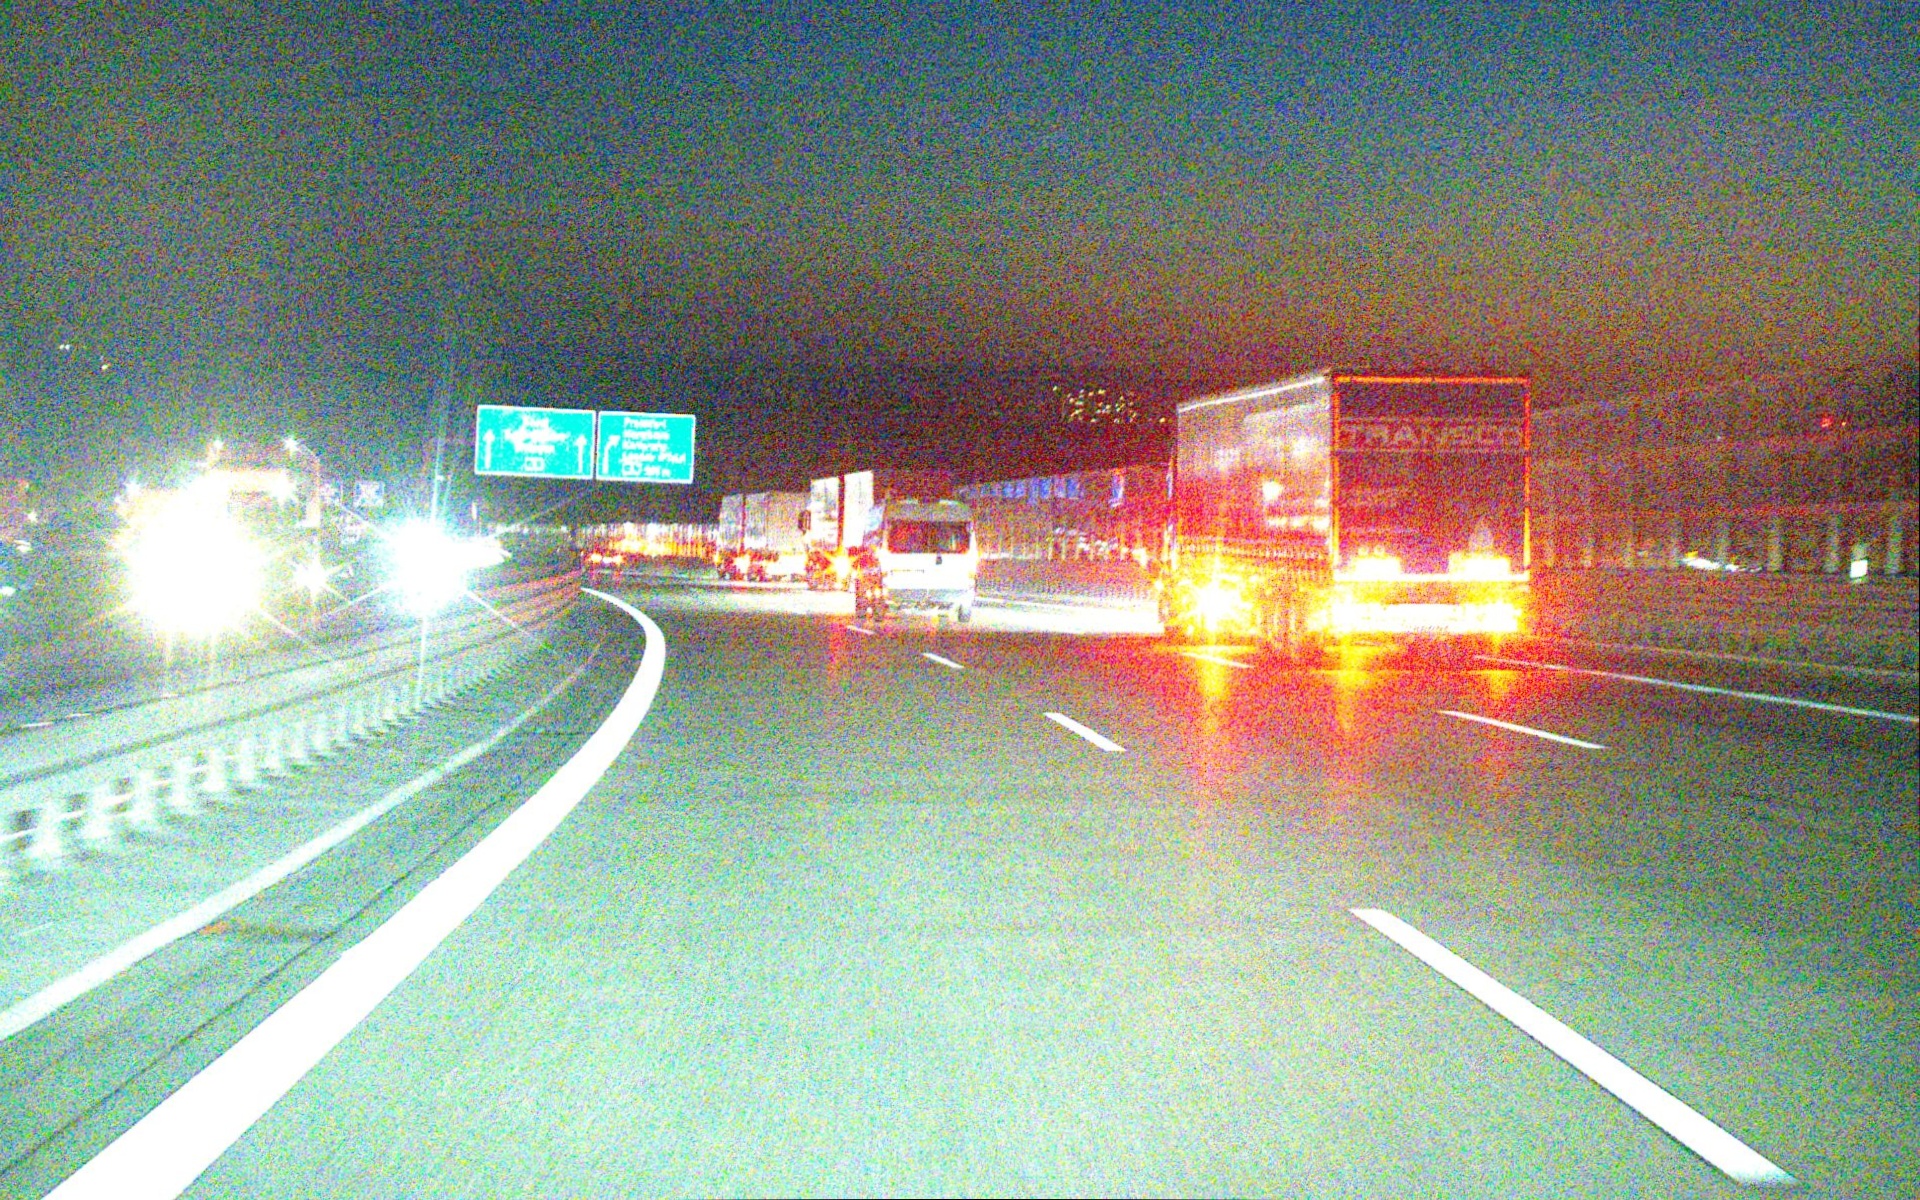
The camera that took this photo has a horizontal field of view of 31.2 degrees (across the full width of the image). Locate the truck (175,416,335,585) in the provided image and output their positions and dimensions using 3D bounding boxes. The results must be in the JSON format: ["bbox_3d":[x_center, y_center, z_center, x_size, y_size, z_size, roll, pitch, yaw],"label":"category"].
[{"bbox_3d":[-19.101,-2.631,93.569,3.108,4.083,7.076,4,-1,-4],"label":"truck"}]

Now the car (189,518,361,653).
[{"bbox_3d":[-10.442,-0.216,52.766,1.875,1.916,5.604,1,0,-4],"label":"car"}]

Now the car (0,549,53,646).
[{"bbox_3d":[-14.258,-0.077,49.261,1.628,1.346,4.000,4,-1,-4],"label":"car"}]

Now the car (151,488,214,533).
[{"bbox_3d":[-26.087,-3.000,115.443,1.653,1.472,3.775,0,1,-6],"label":"car"}]

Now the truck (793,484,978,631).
[{"bbox_3d":[-2.858,-1.357,119.810,3.914,4.612,21.022,1,0,-8],"label":"truck"}]

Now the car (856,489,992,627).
[{"bbox_3d":[-0.808,-0.827,72.236,2.337,2.631,5.248,3,-1,-5],"label":"car"}]

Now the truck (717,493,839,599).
[{"bbox_3d":[-8.585,-2.536,159.909,3.343,4.461,13.914,4,0,-12],"label":"truck"}]

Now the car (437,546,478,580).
[{"bbox_3d":[-20.452,-1.526,140.044,1.570,1.349,4.001,0,1,-7],"label":"car"}]

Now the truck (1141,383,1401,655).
[{"bbox_3d":[4.904,-1.268,55.714,2.861,4.063,7.512,1,1,-5],"label":"truck"}]

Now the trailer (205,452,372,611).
[{"bbox_3d":[-19.709,-1.879,101.710,3.090,4.075,12.450,4,-1,-4],"label":"trailer"}]

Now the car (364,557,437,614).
[{"bbox_3d":[-14.645,-0.389,90.122,1.702,1.421,4.513,1,0,-7],"label":"car"}]

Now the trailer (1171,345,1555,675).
[{"bbox_3d":[5.422,-1.195,49.395,2.853,4.053,13.207,1,1,-5],"label":"trailer"}]

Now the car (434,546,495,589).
[{"bbox_3d":[-17.591,-1.166,122.250,1.873,1.421,4.513,3,0,-5],"label":"car"}]

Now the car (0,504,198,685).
[{"bbox_3d":[-10.094,-0.067,39.446,1.875,1.916,4.868,1,0,-4],"label":"car"}]
